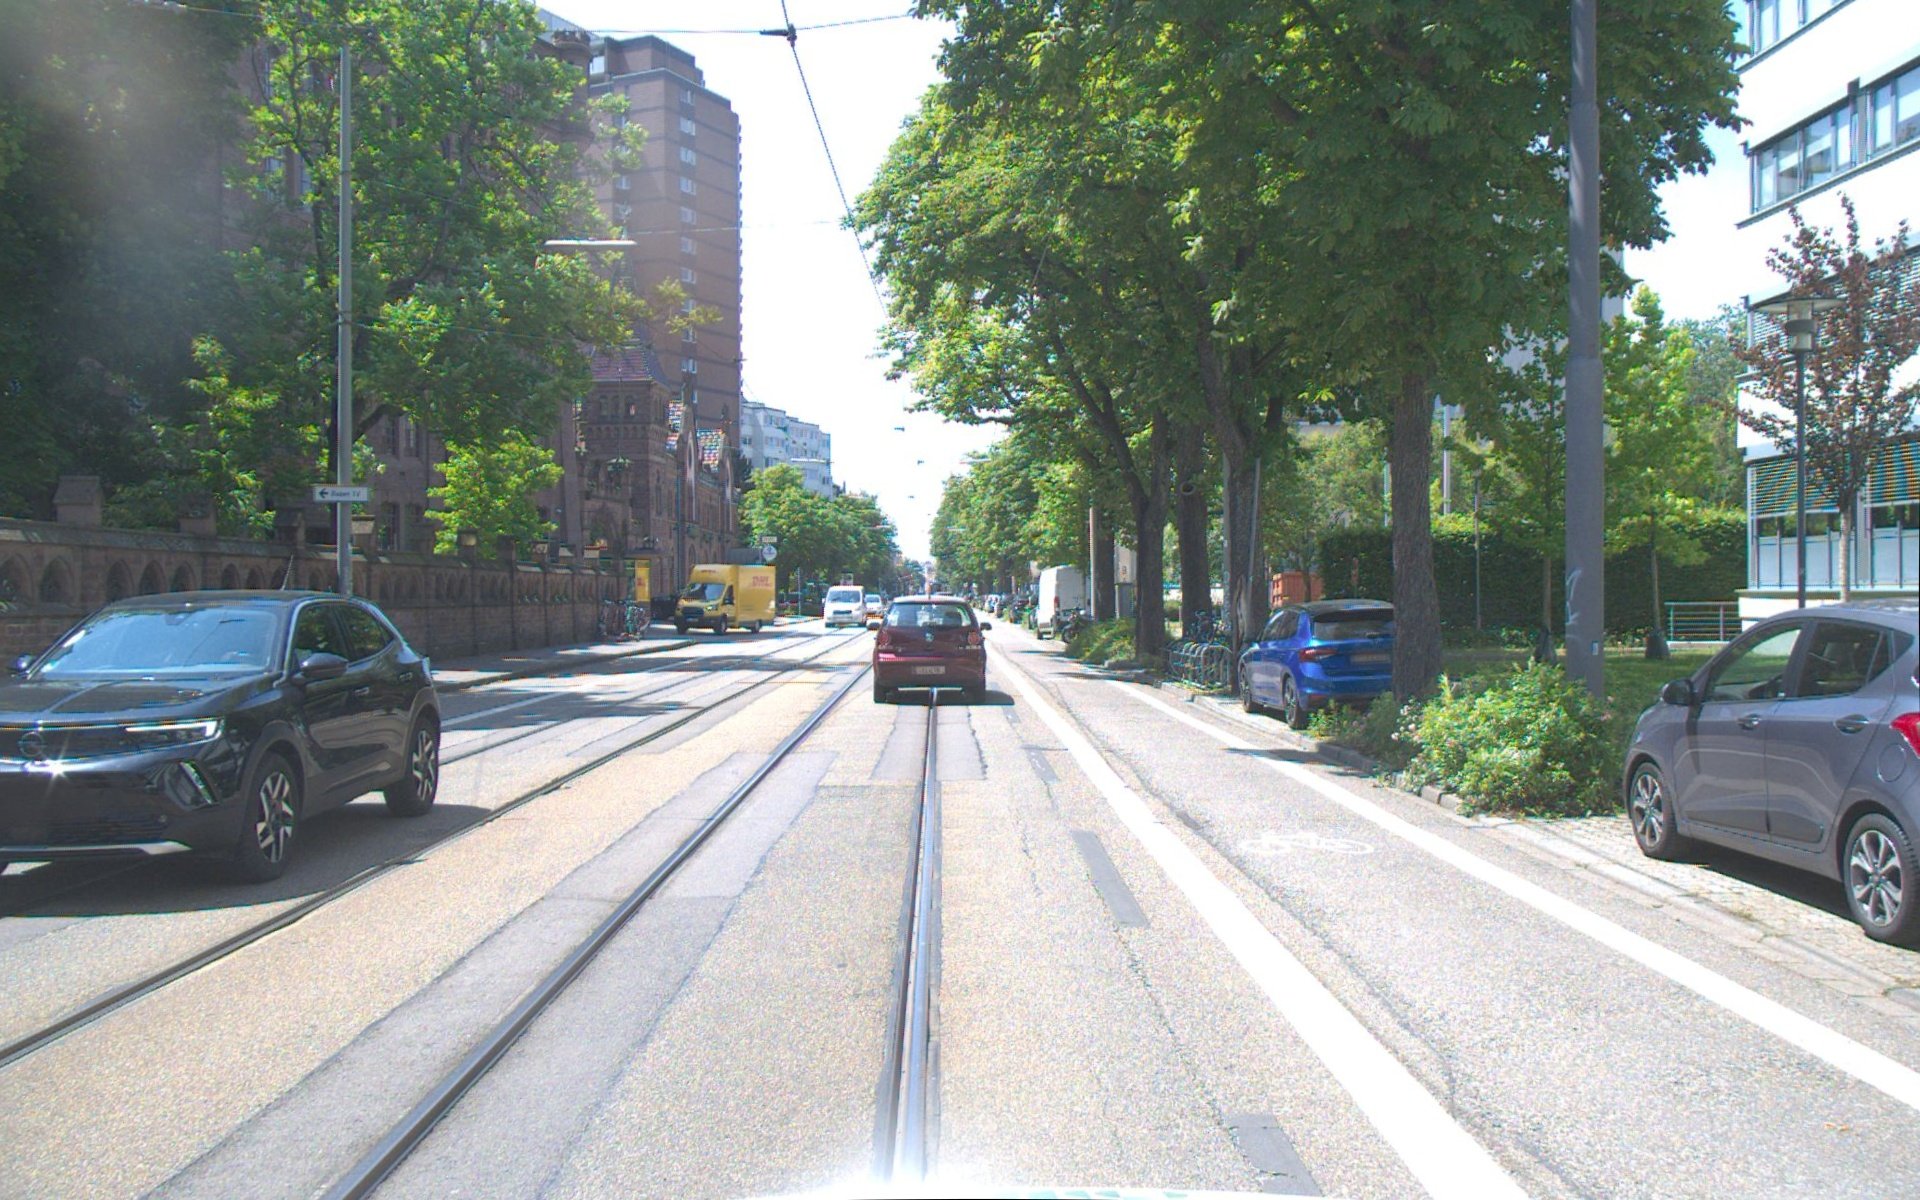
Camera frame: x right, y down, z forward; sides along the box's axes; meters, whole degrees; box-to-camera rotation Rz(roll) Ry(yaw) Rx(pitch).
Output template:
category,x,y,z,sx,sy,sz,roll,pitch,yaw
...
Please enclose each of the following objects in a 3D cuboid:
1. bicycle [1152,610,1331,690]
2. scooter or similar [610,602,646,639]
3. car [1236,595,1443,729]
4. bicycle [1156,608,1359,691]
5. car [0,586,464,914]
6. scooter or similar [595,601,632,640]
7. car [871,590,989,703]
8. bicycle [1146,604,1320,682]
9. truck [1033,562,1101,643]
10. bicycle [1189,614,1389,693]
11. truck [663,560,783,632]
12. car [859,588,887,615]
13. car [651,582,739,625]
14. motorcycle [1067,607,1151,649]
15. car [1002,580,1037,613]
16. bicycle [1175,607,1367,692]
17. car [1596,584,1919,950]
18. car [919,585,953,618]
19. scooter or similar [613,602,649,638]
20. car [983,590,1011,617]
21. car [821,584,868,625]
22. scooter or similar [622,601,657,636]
category,x,y,z,sx,sy,sz,roll,pitch,yaw
bicycle,4.958,0.871,29.214,3.008,1.336,0.781,1,0,-3
scooter or similar,-10.874,0.679,54.240,1.073,1.175,0.524,1,0,-22
car,4.657,0.701,20.810,1.654,1.494,3.879,0,0,-1
bicycle,5.060,0.834,28.220,3.300,1.336,0.781,1,0,-3
car,-4.407,0.702,9.826,1.734,1.542,3.999,0,0,-1
scooter or similar,-10.841,0.642,51.743,1.073,1.175,0.524,1,0,-22
car,-0.449,0.614,24.363,1.586,1.512,3.999,-1,0,-1
bicycle,4.956,0.776,30.092,3.008,1.336,0.781,1,0,-3
truck,3.709,0.055,58.248,1.953,2.708,4.874,1,0,-1
bicycle,5.206,0.845,26.301,3.008,1.175,0.781,1,0,-3
truck,-9.836,-0.167,69.385,2.319,2.835,7.325,0,0,15
car,-5.546,0.083,105.900,1.640,1.685,3.999,1,1,-1
car,-13.014,0.185,81.295,3.903,2.049,2.001,0,0,3
motorcycle,4.518,0.840,50.352,2.501,1.208,0.942,1,0,4
car,3.211,-0.214,89.618,1.640,1.685,3.999,1,1,-1
bicycle,5.127,0.809,27.353,3.008,1.336,0.781,1,0,-3
car,4.913,0.704,8.692,1.654,1.529,3.627,-2,0,-1
car,-1.537,0.087,105.132,1.954,2.049,3.998,1,1,-3
scooter or similar,-10.920,0.658,54.862,1.073,1.175,0.524,1,0,-22
car,2.409,0.212,107.171,1.640,1.685,3.999,1,1,-1
car,-5.492,0.203,79.072,1.953,1.887,4.681,0,0,-1
scooter or similar,-10.814,0.622,55.765,1.073,1.175,0.524,1,0,-22
